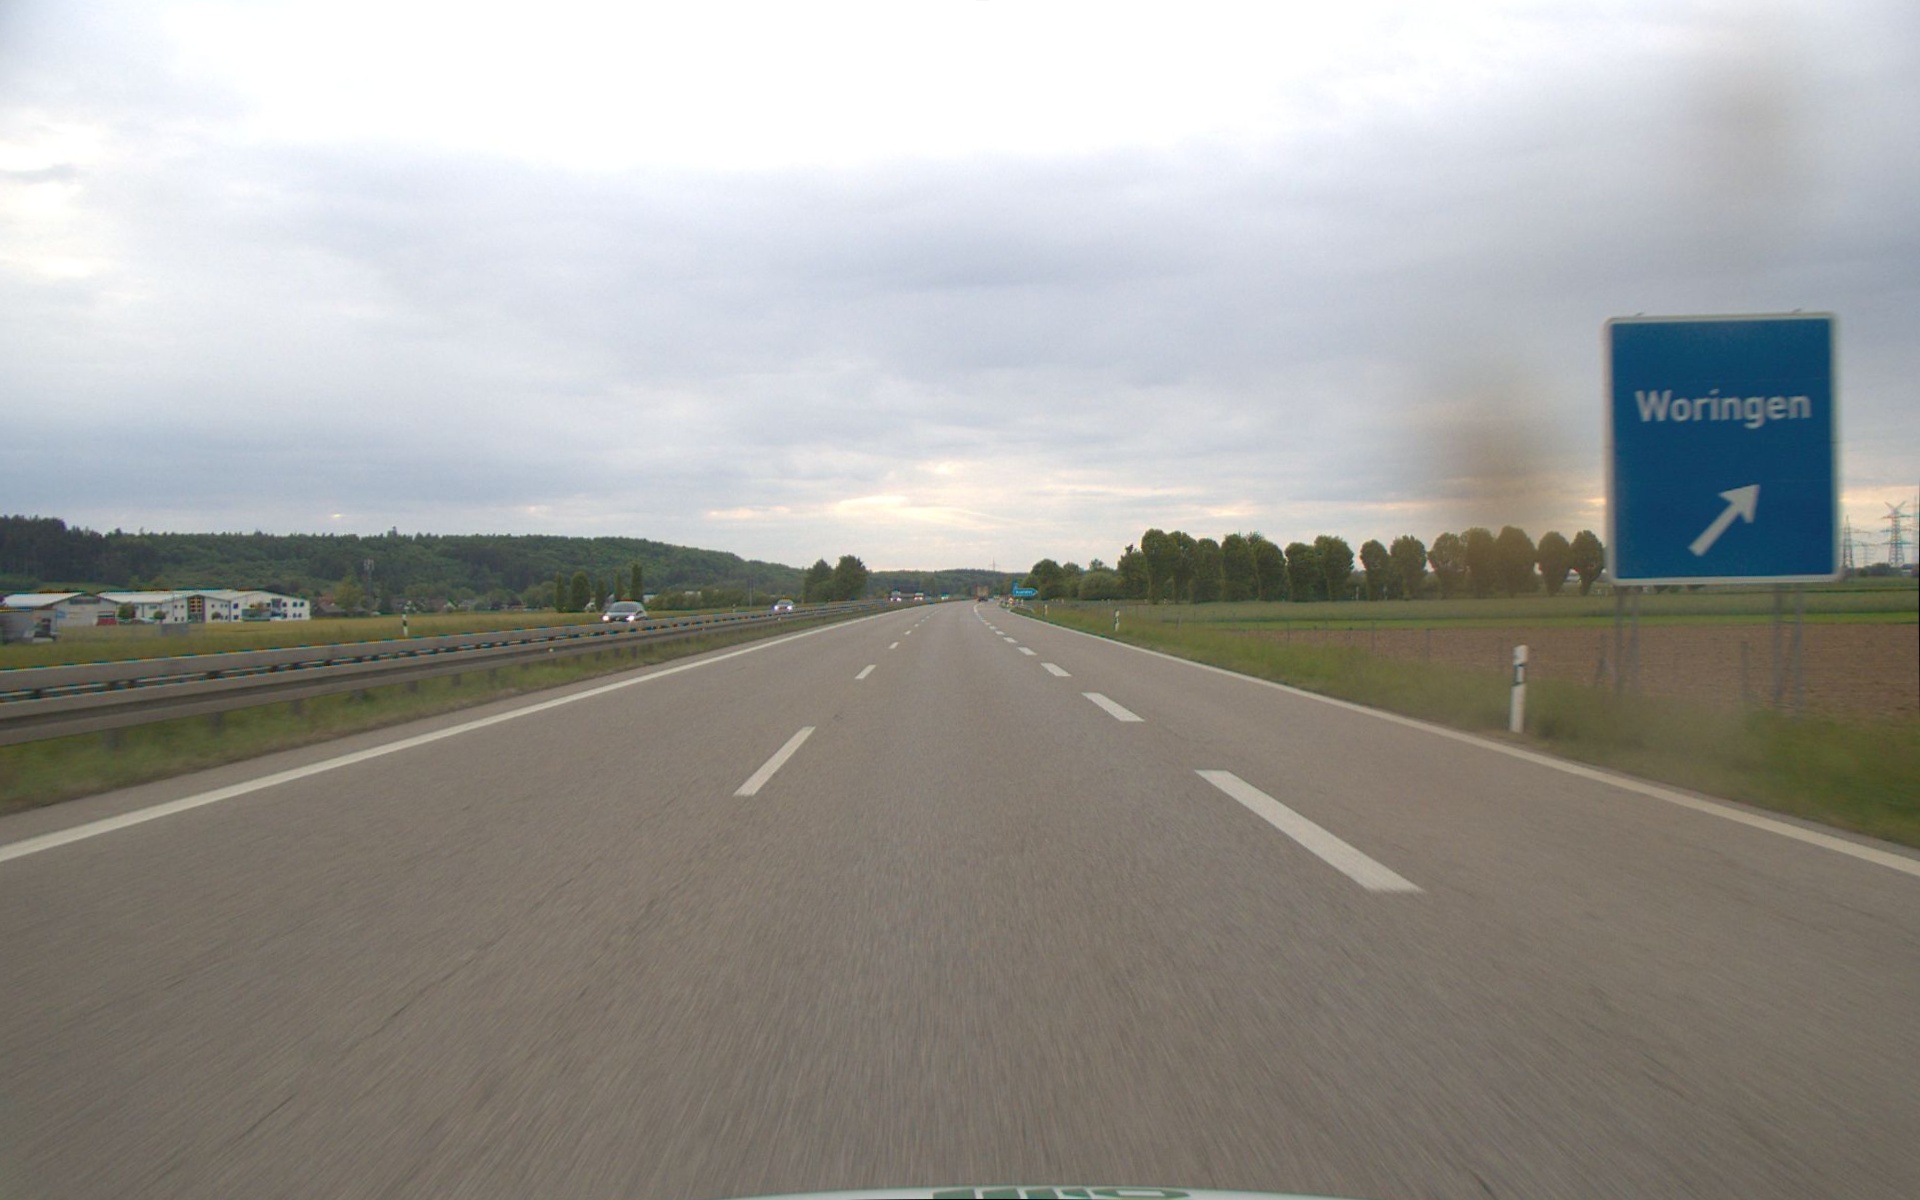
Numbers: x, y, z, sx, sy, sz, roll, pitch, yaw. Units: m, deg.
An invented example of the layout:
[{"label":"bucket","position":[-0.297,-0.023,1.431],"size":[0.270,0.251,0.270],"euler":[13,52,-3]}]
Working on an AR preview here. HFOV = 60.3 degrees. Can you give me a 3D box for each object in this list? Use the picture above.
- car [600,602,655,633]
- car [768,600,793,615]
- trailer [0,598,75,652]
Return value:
[{"label":"car","position":[-16.986,0.869,84.635],"size":[1.953,1.506,4.451],"euler":[1,0,-1]},{"label":"car","position":[-17.591,0.720,162.037],"size":[1.953,1.441,4.523],"euler":[1,0,0]},{"label":"trailer","position":[-98.300,2.680,170.856],"size":[16.656,5.225,3.564],"euler":[-2,-2,29]}]
